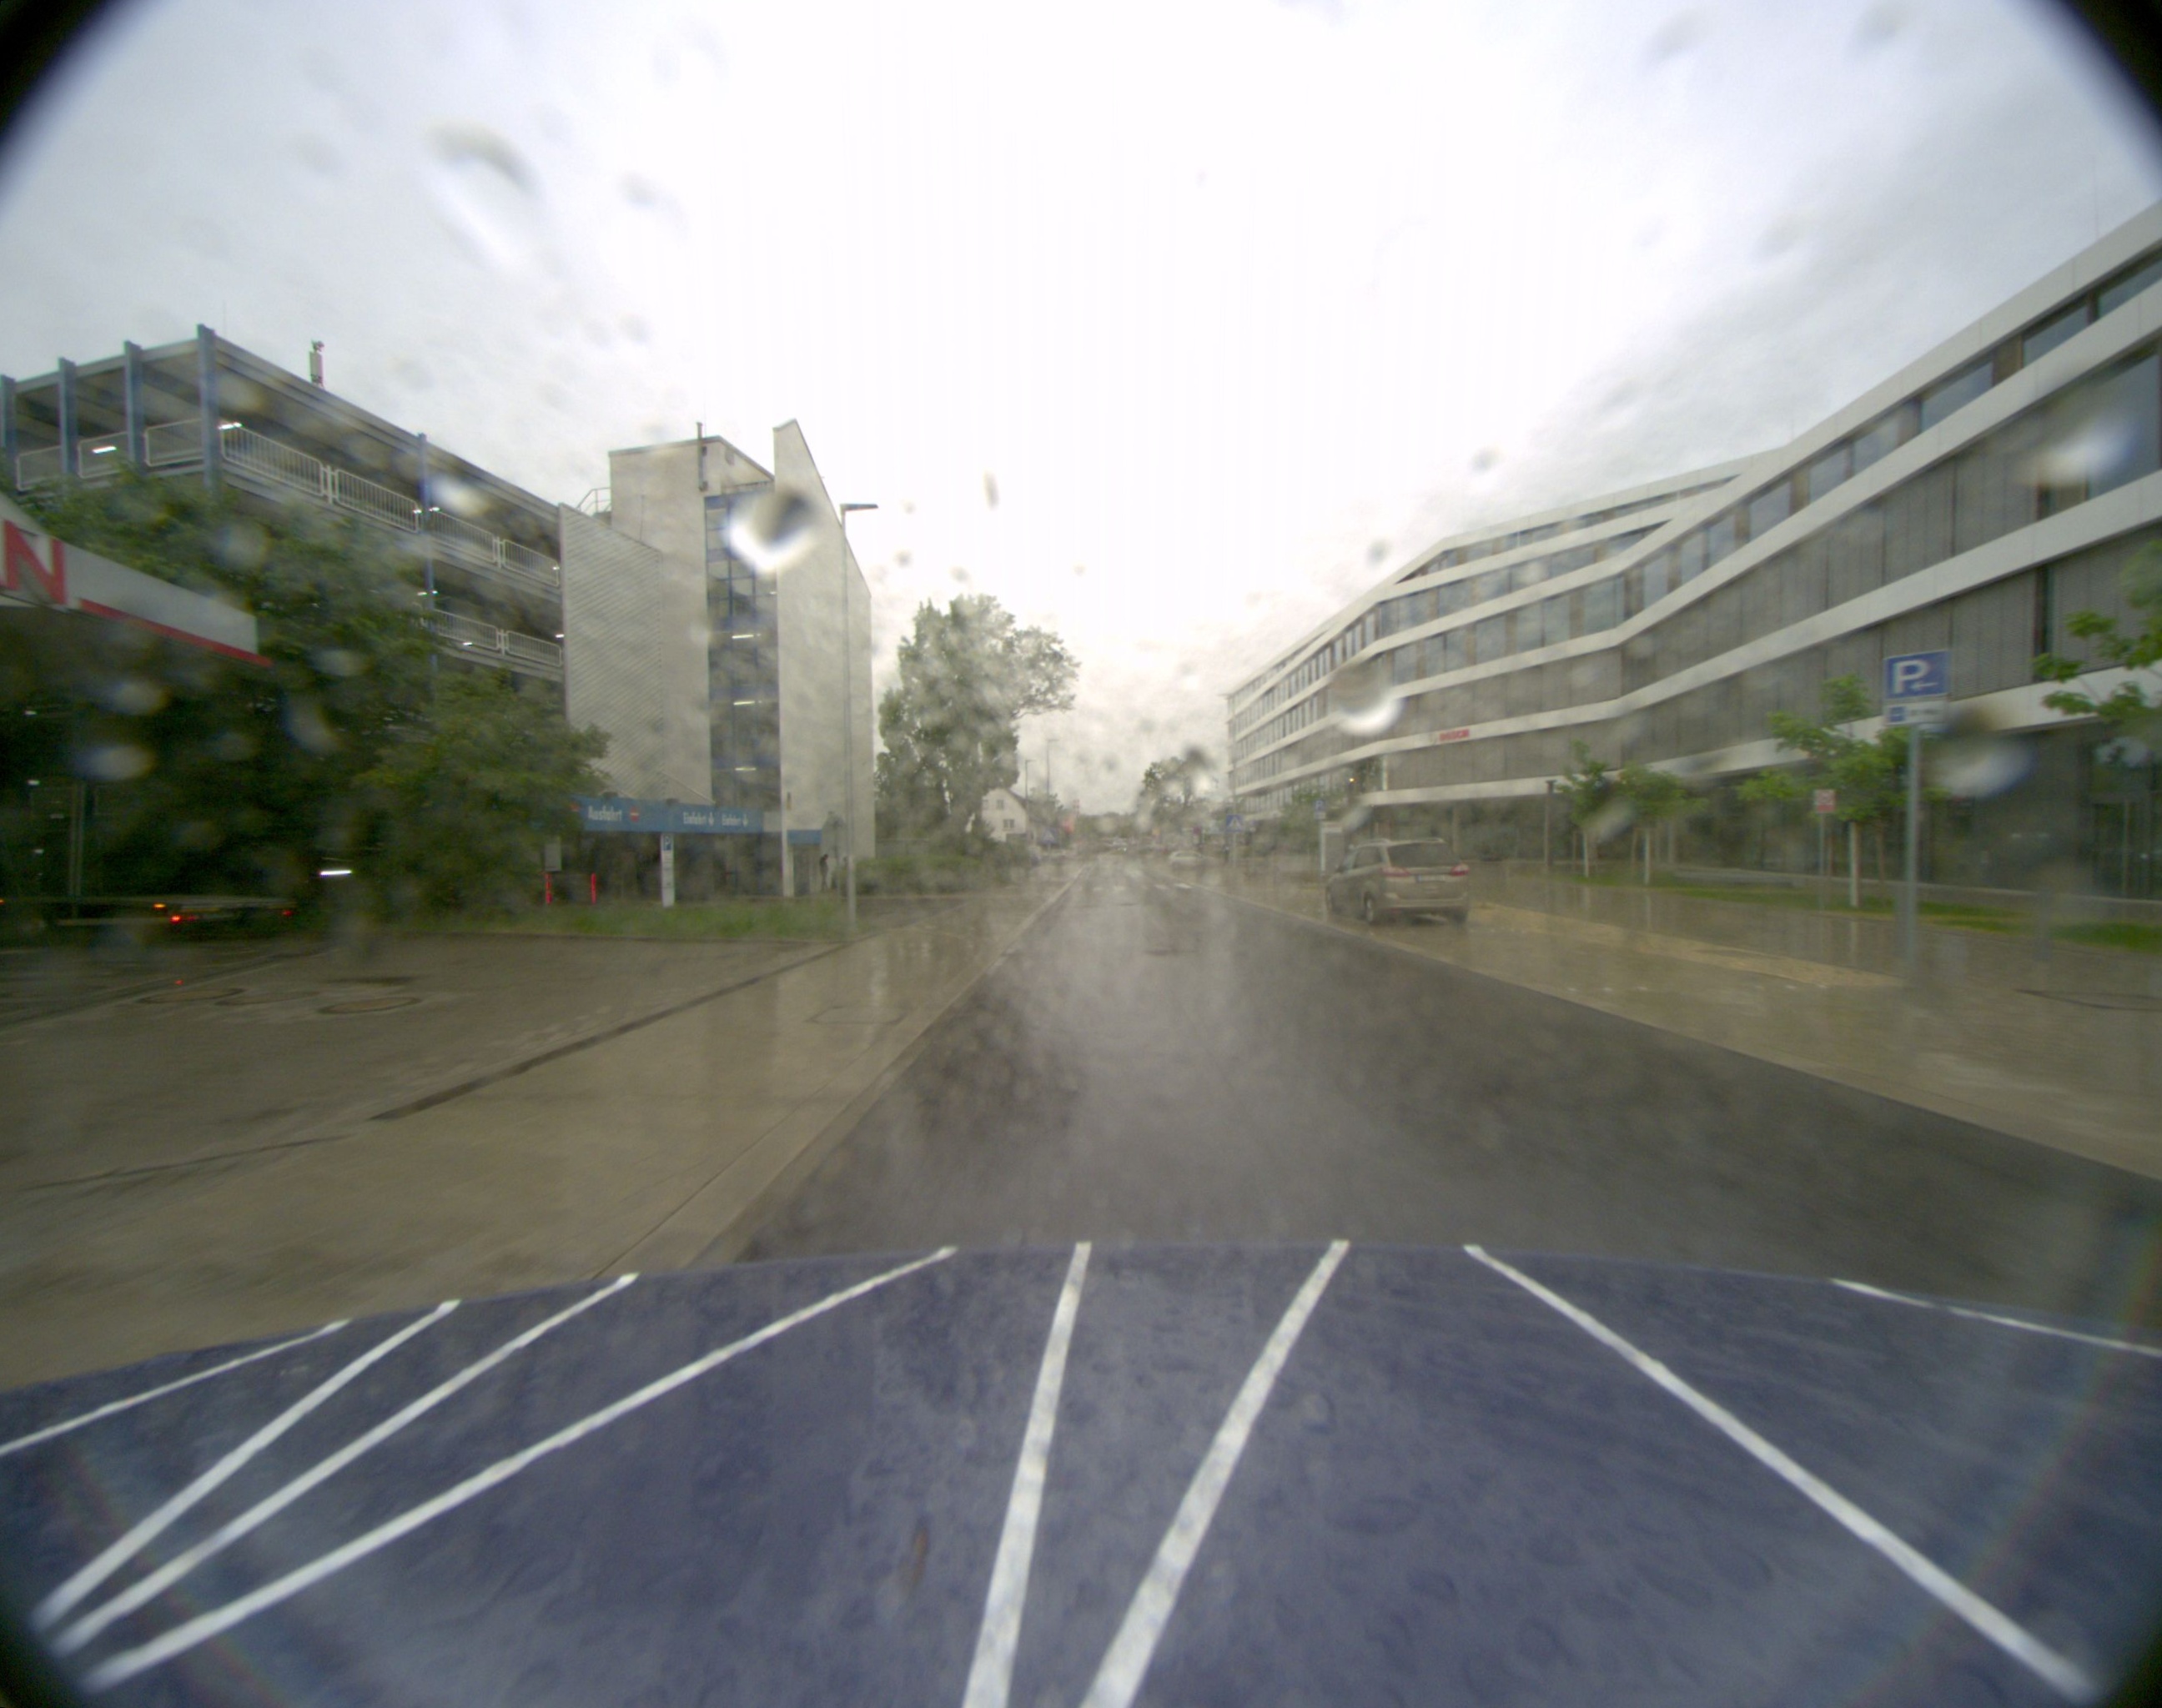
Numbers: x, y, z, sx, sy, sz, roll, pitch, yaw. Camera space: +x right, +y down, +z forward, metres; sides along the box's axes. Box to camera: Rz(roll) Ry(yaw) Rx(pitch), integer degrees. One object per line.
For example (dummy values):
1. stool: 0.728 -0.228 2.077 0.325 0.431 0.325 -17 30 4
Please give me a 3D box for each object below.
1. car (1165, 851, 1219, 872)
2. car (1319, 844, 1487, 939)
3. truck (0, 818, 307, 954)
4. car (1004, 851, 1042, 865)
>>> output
1. car: 8.918 0.592 61.371 4.166 1.411 2.001 -3 0 6
2. car: 6.496 0.671 15.910 1.841 1.696 4.324 -1 0 2
3. truck: -18.520 0.544 13.295 7.297 2.193 2.085 1 -2 -5
4. car: -6.308 0.380 82.888 3.998 1.444 1.868 -1 1 -2
